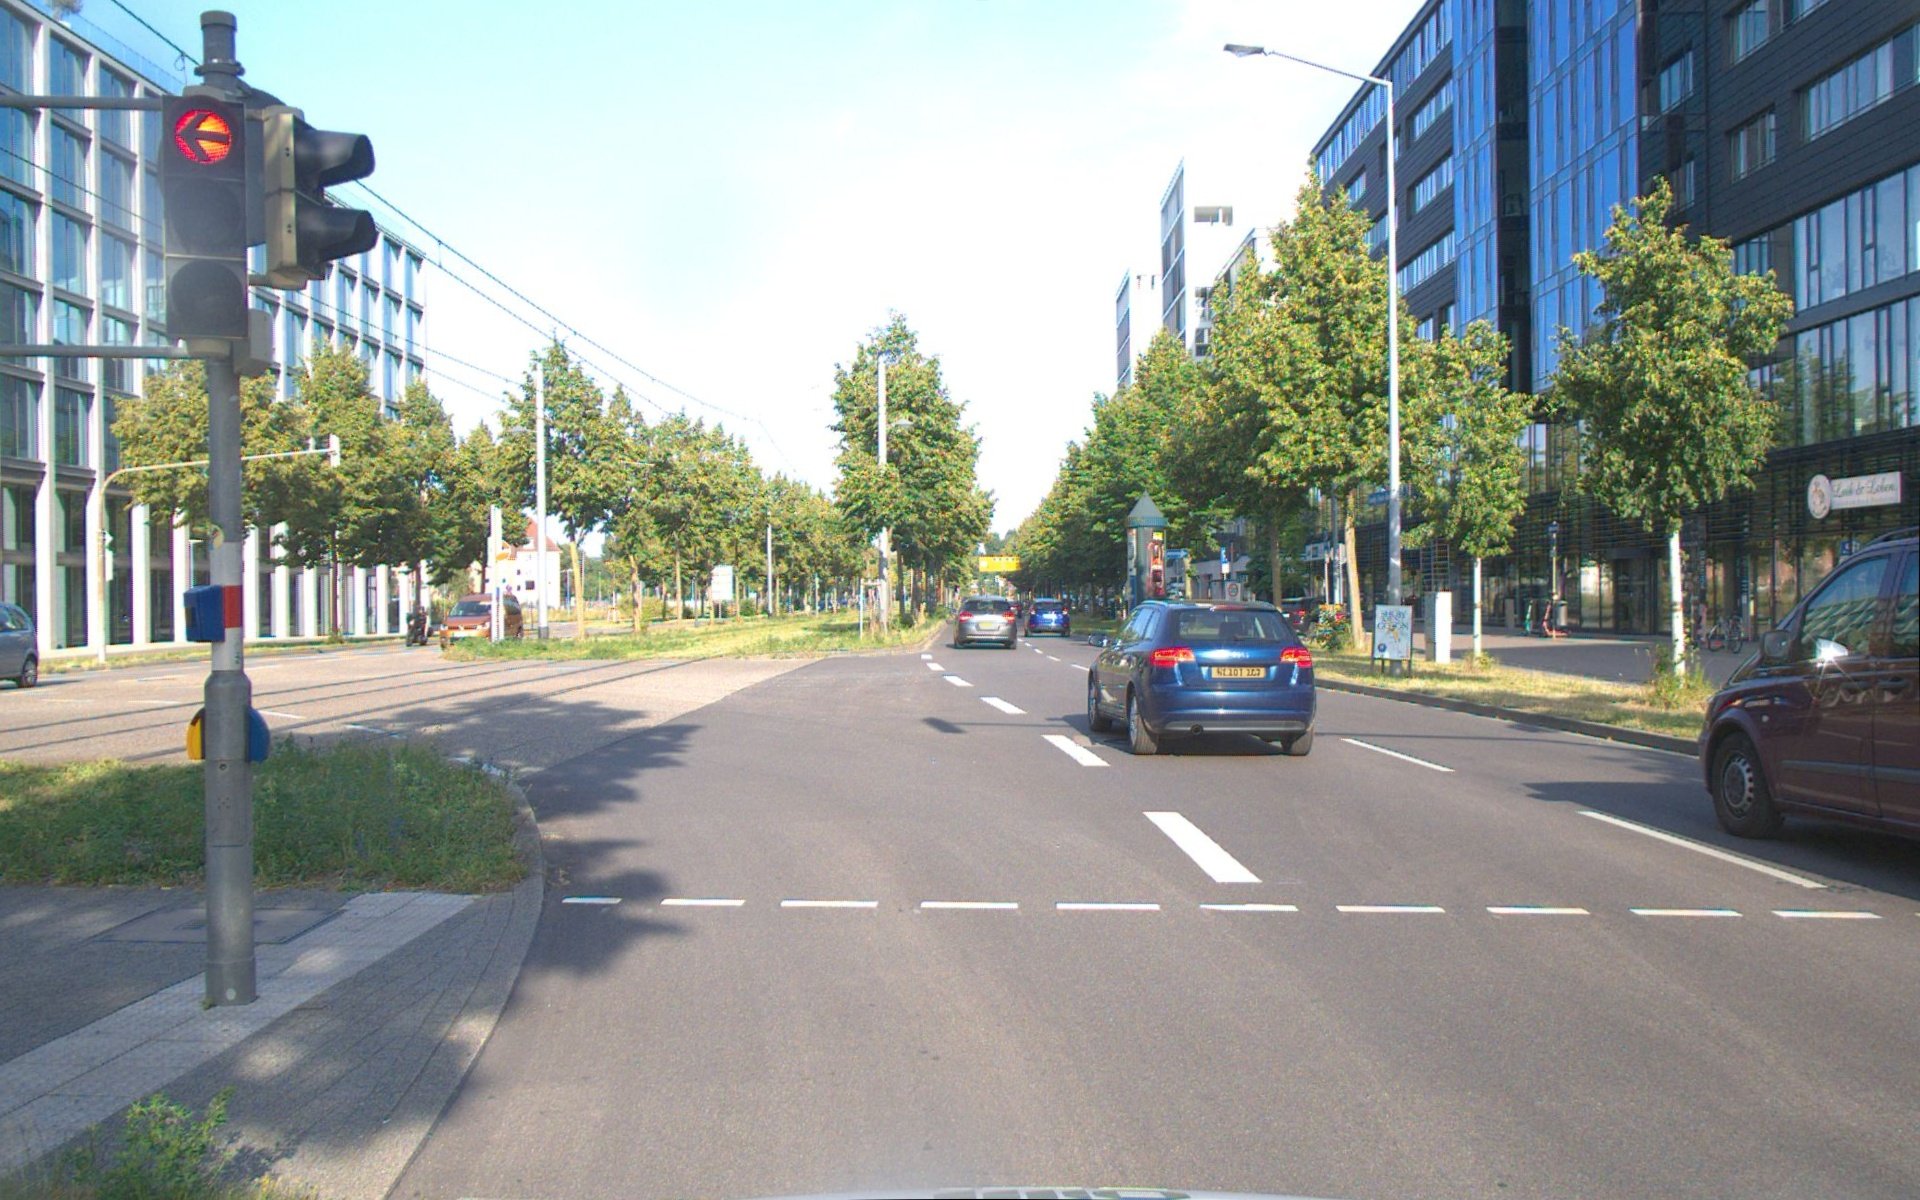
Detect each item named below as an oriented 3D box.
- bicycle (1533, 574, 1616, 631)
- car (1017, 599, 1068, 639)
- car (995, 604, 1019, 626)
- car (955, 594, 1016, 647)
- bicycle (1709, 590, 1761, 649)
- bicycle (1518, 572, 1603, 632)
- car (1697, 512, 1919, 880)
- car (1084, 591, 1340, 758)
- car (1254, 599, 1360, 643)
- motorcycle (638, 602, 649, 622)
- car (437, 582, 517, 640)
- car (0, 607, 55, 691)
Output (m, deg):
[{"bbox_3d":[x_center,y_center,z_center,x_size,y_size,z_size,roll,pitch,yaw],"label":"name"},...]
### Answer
[{"bbox_3d":[19.601,0.085,52.778,2.383,1.776,0.554,1,-1,10],"label":"bicycle"},{"bbox_3d":[3.178,0.707,64.184,1.529,1.449,3.904,1,1,-4],"label":"car"},{"bbox_3d":[3.968,1.275,139.279,1.788,1.817,3.999,1,0,-1],"label":"car"},{"bbox_3d":[0.703,0.570,47.940,1.660,1.449,4.039,1,0,-1],"label":"car"},{"bbox_3d":[18.634,0.469,39.803,0.365,1.370,1.894,1,-1,1],"label":"bicycle"},{"bbox_3d":[19.495,0.068,53.734,2.510,1.890,0.570,1,-1,10],"label":"bicycle"},{"bbox_3d":[5.901,0.514,8.748,1.762,1.924,4.820,1,0,-1],"label":"car"},{"bbox_3d":[2.393,0.668,16.684,1.717,1.460,4.032,1,0,-4],"label":"car"},{"bbox_3d":[11.887,0.714,56.511,1.750,1.449,3.933,1,0,44],"label":"car"},{"bbox_3d":[-24.344,0.905,127.359,0.464,1.557,1.992,1,0,-1],"label":"motorcycle"},{"bbox_3d":[-15.808,0.363,54.278,1.650,1.806,3.880,1,0,-3],"label":"car"},{"bbox_3d":[-17.786,0.865,29.180,1.606,1.468,3.953,1,0,-3],"label":"car"}]
